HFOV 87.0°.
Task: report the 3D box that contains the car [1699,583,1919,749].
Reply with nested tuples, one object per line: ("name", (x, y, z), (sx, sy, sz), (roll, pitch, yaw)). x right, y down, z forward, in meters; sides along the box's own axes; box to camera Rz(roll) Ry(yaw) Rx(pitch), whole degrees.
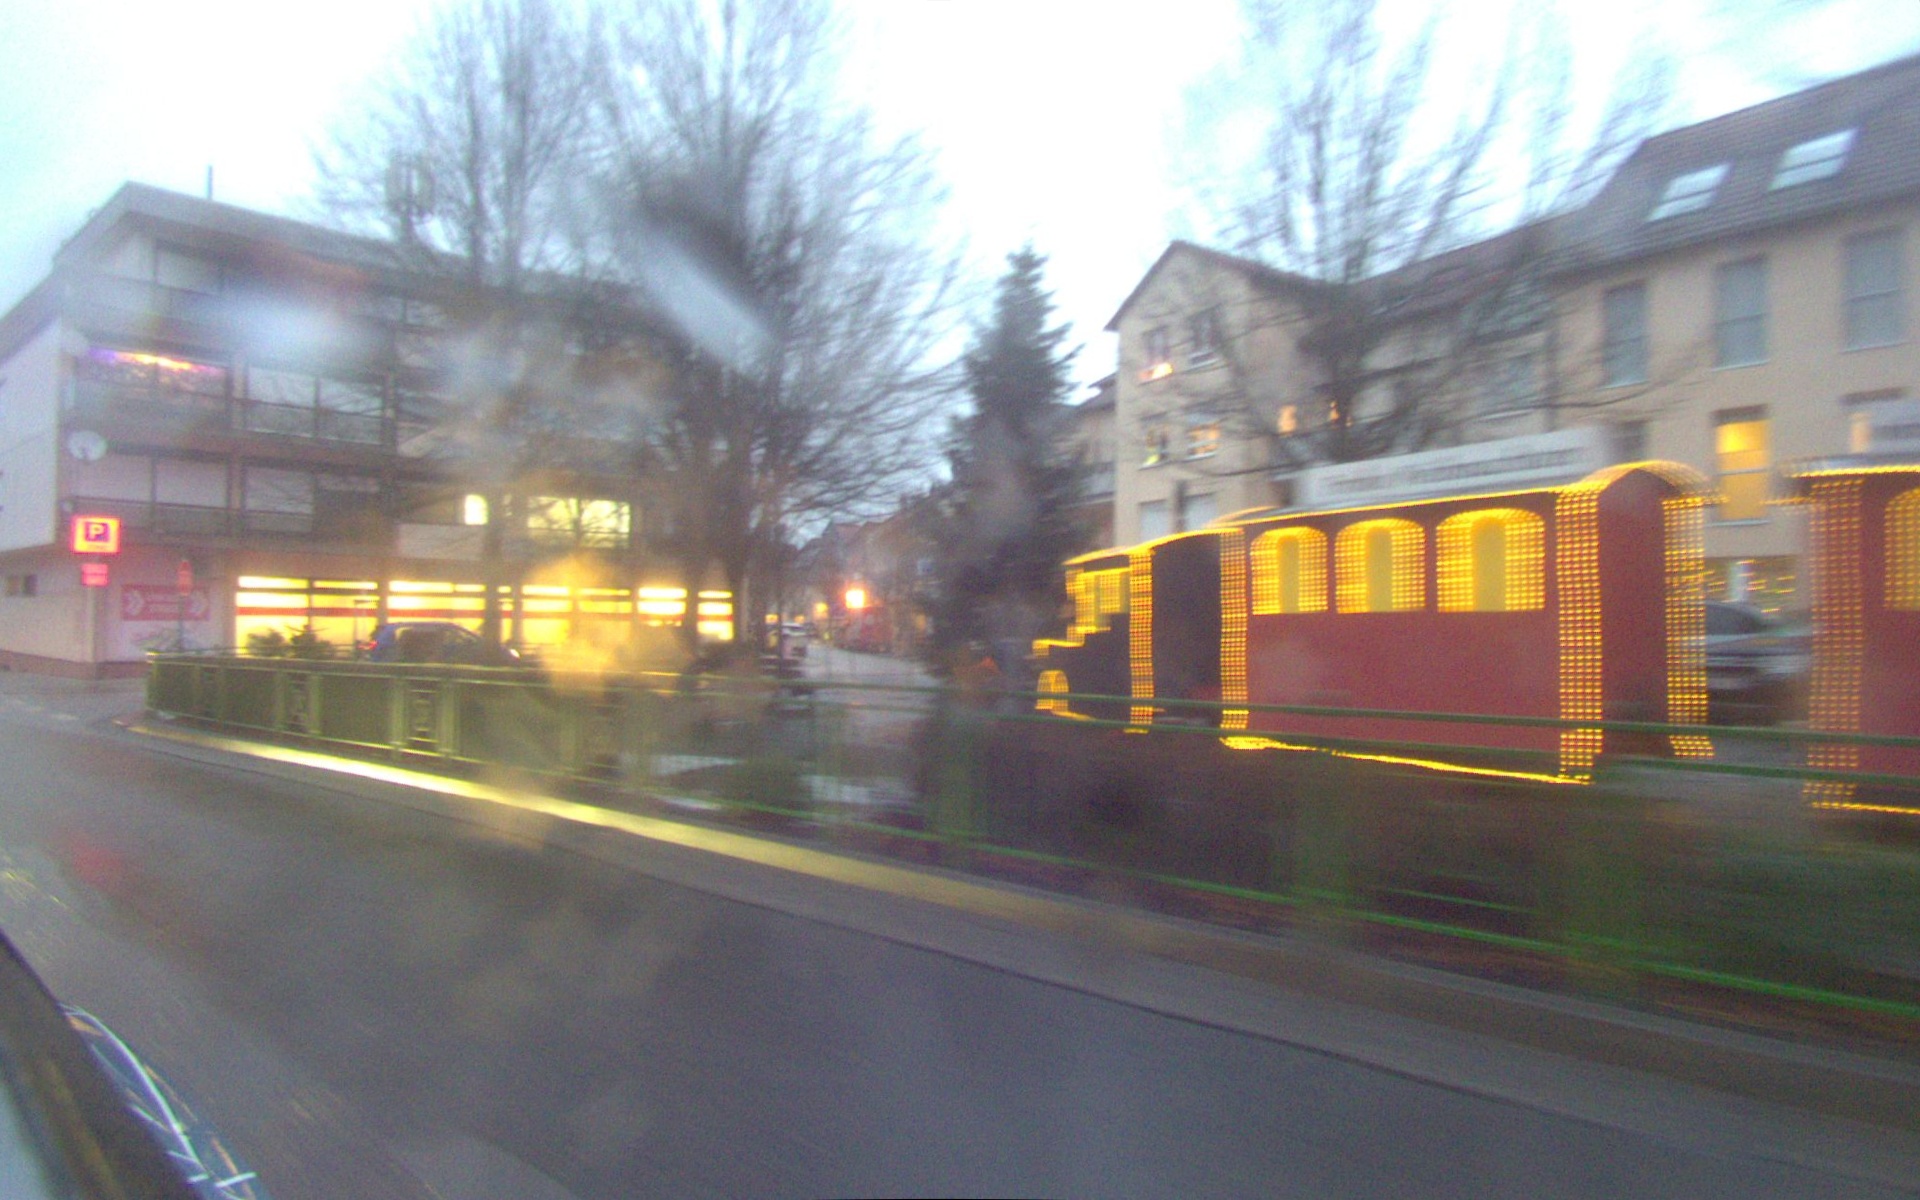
("car", (10.368, 0.644, 11.123), (3.574, 1.624, 1.614), (-1, -1, -12))

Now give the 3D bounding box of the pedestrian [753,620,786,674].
("pedestrian", (-4.818, 1.185, 25.583), (0.611, 1.349, 0.568), (0, -2, -39))

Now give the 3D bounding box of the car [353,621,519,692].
("car", (-12.394, 1.300, 24.004), (3.258, 1.519, 1.504), (0, -1, -40))

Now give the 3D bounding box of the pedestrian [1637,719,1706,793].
("pedestrian", (5.181, 1.126, 7.369), (0.361, 0.488, 0.291), (-2, -4, 44))

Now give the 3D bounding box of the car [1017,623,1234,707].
("car", (3.367, 1.272, 20.725), (3.930, 1.519, 1.928), (0, -2, -22))
